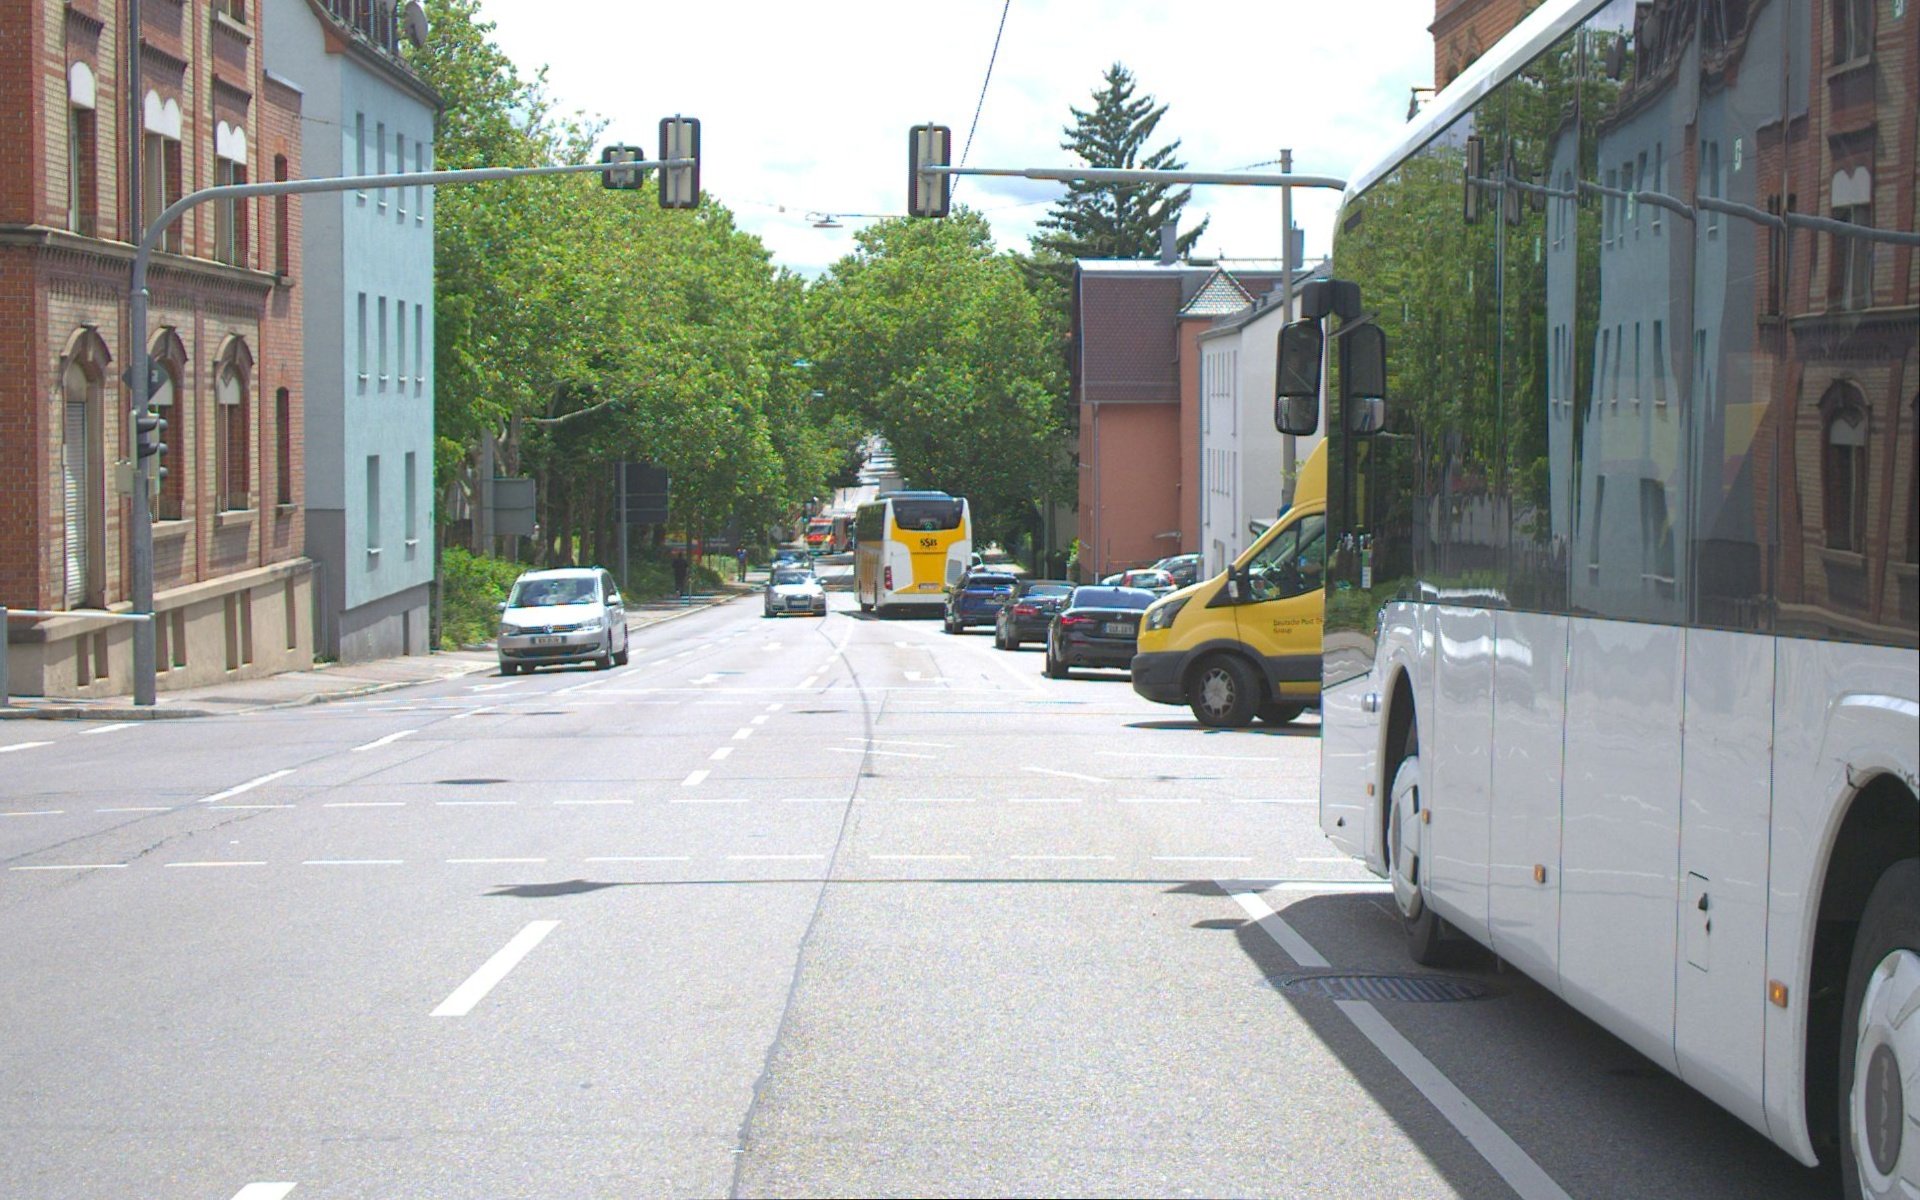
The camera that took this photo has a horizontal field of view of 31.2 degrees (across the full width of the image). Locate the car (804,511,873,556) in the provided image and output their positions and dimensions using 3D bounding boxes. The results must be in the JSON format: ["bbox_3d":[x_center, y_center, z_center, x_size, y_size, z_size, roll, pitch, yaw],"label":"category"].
[{"bbox_3d":[-8.555,-4.696,243.282,2.145,3.059,5.617,1,1,31],"label":"car"}]

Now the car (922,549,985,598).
[{"bbox_3d":[-0.251,-1.013,129.256,2.091,1.824,4.143,0,1,-4],"label":"car"}]

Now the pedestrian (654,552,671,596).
[{"bbox_3d":[-11.843,-1.031,136.850,0.606,1.752,0.654,-1,1,-2],"label":"pedestrian"}]

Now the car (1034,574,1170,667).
[{"bbox_3d":[2.085,0.282,51.356,1.797,1.271,4.000,-1,1,-1],"label":"car"}]

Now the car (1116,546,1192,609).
[{"bbox_3d":[5.242,-0.626,93.218,1.767,1.660,4.000,-1,1,-1],"label":"car"}]

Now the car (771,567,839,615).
[{"bbox_3d":[-4.626,-0.290,103.284,1.865,1.363,4.547,-1,1,-1],"label":"car"}]

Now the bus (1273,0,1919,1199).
[{"bbox_3d":[2.964,-0.307,9.269,2.904,3.498,12.488,1,1,-1],"label":"bus"}]

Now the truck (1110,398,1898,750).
[{"bbox_3d":[4.864,-0.273,30.625,6.557,2.903,2.547,1,0,19],"label":"truck"}]

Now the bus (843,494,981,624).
[{"bbox_3d":[-1.539,-1.248,102.935,3.300,3.618,11.246,-1,1,-5],"label":"bus"}]

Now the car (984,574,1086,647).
[{"bbox_3d":[1.465,0.181,68.491,1.865,1.363,4.547,-1,1,-1],"label":"car"}]

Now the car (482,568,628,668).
[{"bbox_3d":[-6.682,0.262,57.152,1.935,1.558,4.389,-1,1,-1],"label":"car"}]

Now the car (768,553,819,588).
[{"bbox_3d":[-7.828,-1.412,161.575,2.207,1.607,4.547,-1,1,-1],"label":"car"}]

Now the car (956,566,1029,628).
[{"bbox_3d":[0.738,-0.088,79.892,1.608,1.371,4.000,0,1,-1],"label":"car"}]
